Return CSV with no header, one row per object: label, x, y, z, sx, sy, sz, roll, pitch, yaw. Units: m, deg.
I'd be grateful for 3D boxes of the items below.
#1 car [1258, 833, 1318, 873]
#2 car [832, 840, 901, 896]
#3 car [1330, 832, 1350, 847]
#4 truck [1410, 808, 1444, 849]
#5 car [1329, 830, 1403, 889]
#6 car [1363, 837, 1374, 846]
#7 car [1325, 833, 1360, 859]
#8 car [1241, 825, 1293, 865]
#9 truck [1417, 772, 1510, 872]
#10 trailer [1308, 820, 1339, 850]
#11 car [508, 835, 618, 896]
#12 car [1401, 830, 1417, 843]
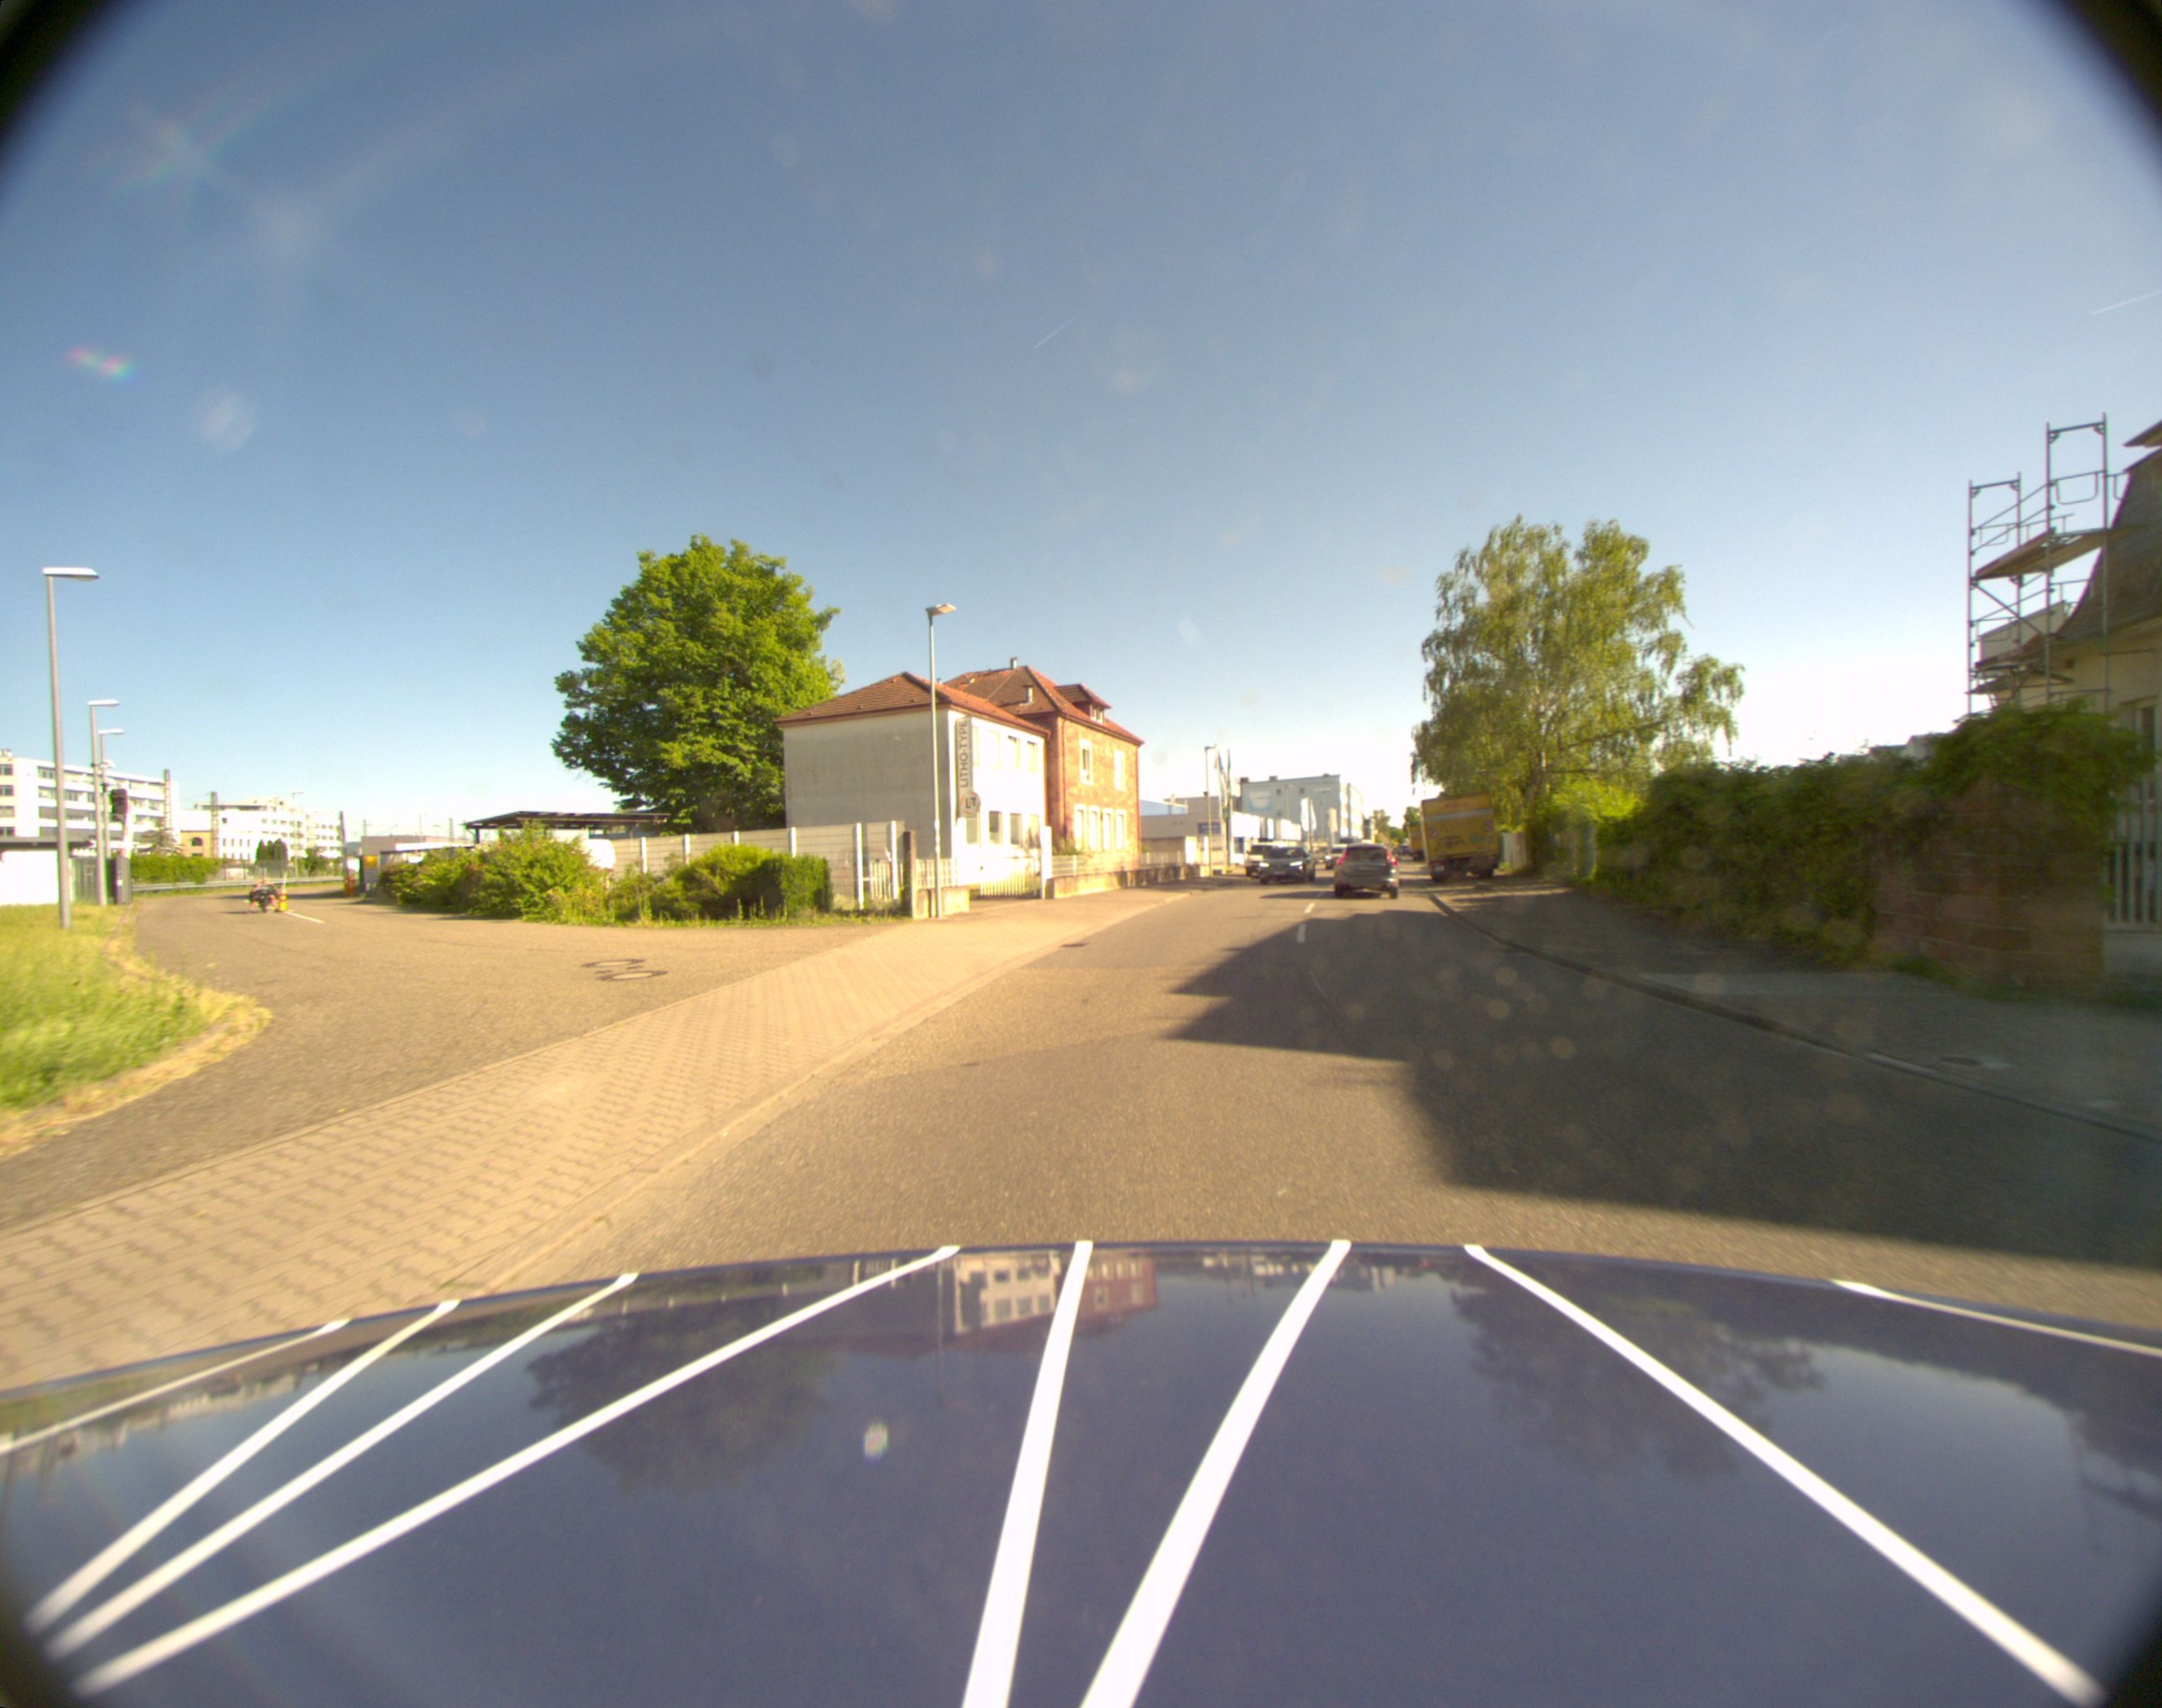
car,9.157,-0.062,33.325,1.847,1.621,4.302,-1,1,24
car,-7.738,0.439,27.129,2.002,1.767,4.358,-1,1,-20
car,29.843,-1.652,87.593,1.847,1.695,4.301,-1,1,23
truck,33.661,-2.419,74.127,2.791,3.736,7.909,-1,1,23
car,9.114,0.137,24.168,1.995,1.686,4.572,-1,1,22
car,54.540,-2.434,144.172,1.847,1.621,4.301,-1,1,23
car,17.671,-0.547,51.230,1.847,1.621,4.302,-1,1,24
car,10.489,-0.529,42.600,1.847,2.001,4.722,-5,-1,24
truck,16.539,-1.300,33.382,2.845,3.598,8.019,-6,-1,23
trailer,22.690,-1.744,71.024,2.158,2.702,4.204,-1,1,25
car,-22.824,0.490,33.439,5.020,2.527,1.842,-1,1,28
car,45.254,-2.419,104.812,1.847,1.621,4.301,-1,1,21
